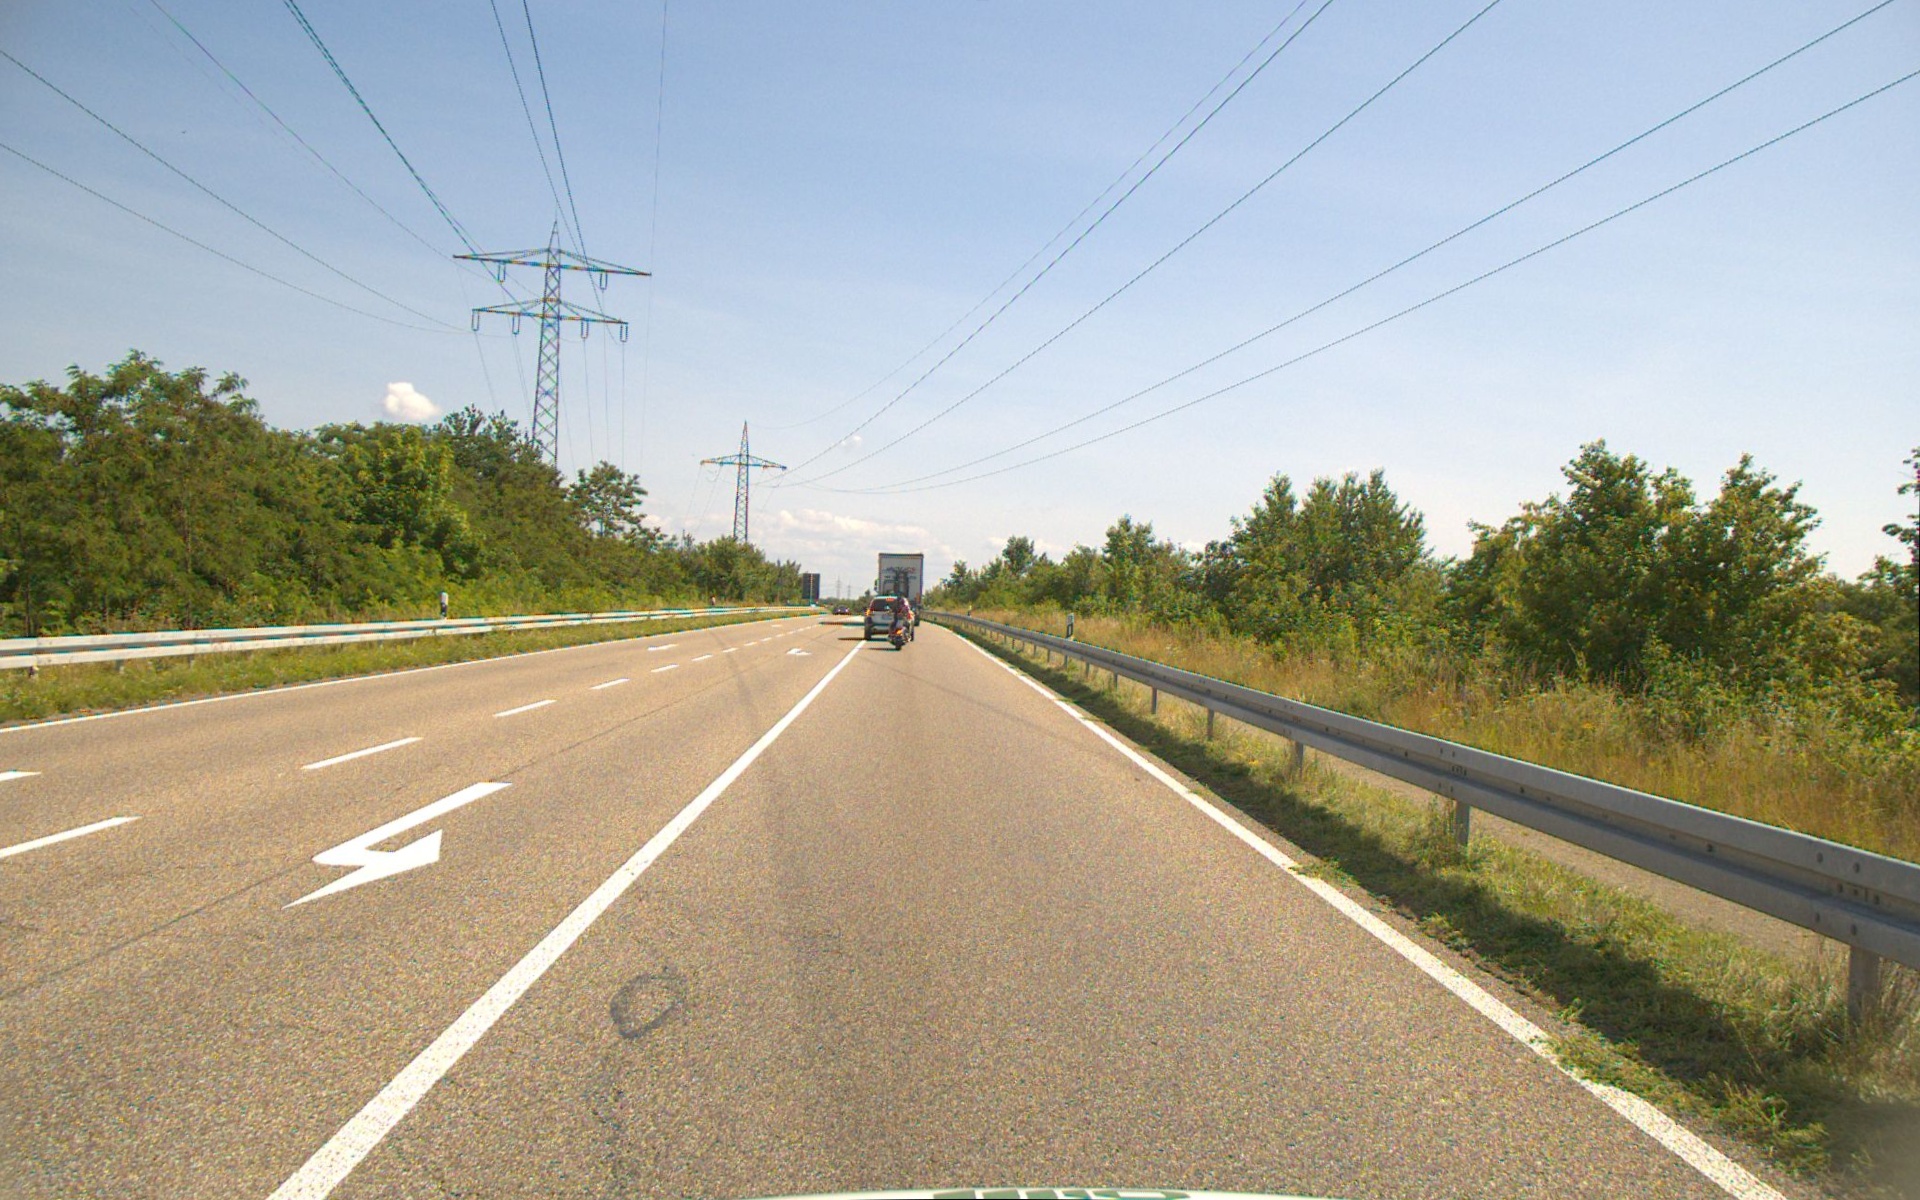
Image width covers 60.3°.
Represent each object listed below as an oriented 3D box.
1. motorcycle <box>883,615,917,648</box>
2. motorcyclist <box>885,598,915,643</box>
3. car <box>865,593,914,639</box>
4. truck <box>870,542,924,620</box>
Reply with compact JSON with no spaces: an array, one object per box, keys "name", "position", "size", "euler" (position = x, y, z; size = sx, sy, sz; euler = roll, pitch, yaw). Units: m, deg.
[{"name":"motorcycle","position":[-1.802,0.930,49.274],"size":[0.842,0.931,2.225],"euler":[2,0,-5]},{"name":"motorcyclist","position":[-1.788,0.604,49.292],"size":[0.821,1.303,0.918],"euler":[2,-1,-6]},{"name":"car","position":[-2.582,0.581,60.033],"size":[1.667,1.563,3.496],"euler":[2,0,-3]},{"name":"truck","position":[-3.836,-1.039,100.406],"size":[2.908,4.260,14.814],"euler":[2,0,-2]}]
